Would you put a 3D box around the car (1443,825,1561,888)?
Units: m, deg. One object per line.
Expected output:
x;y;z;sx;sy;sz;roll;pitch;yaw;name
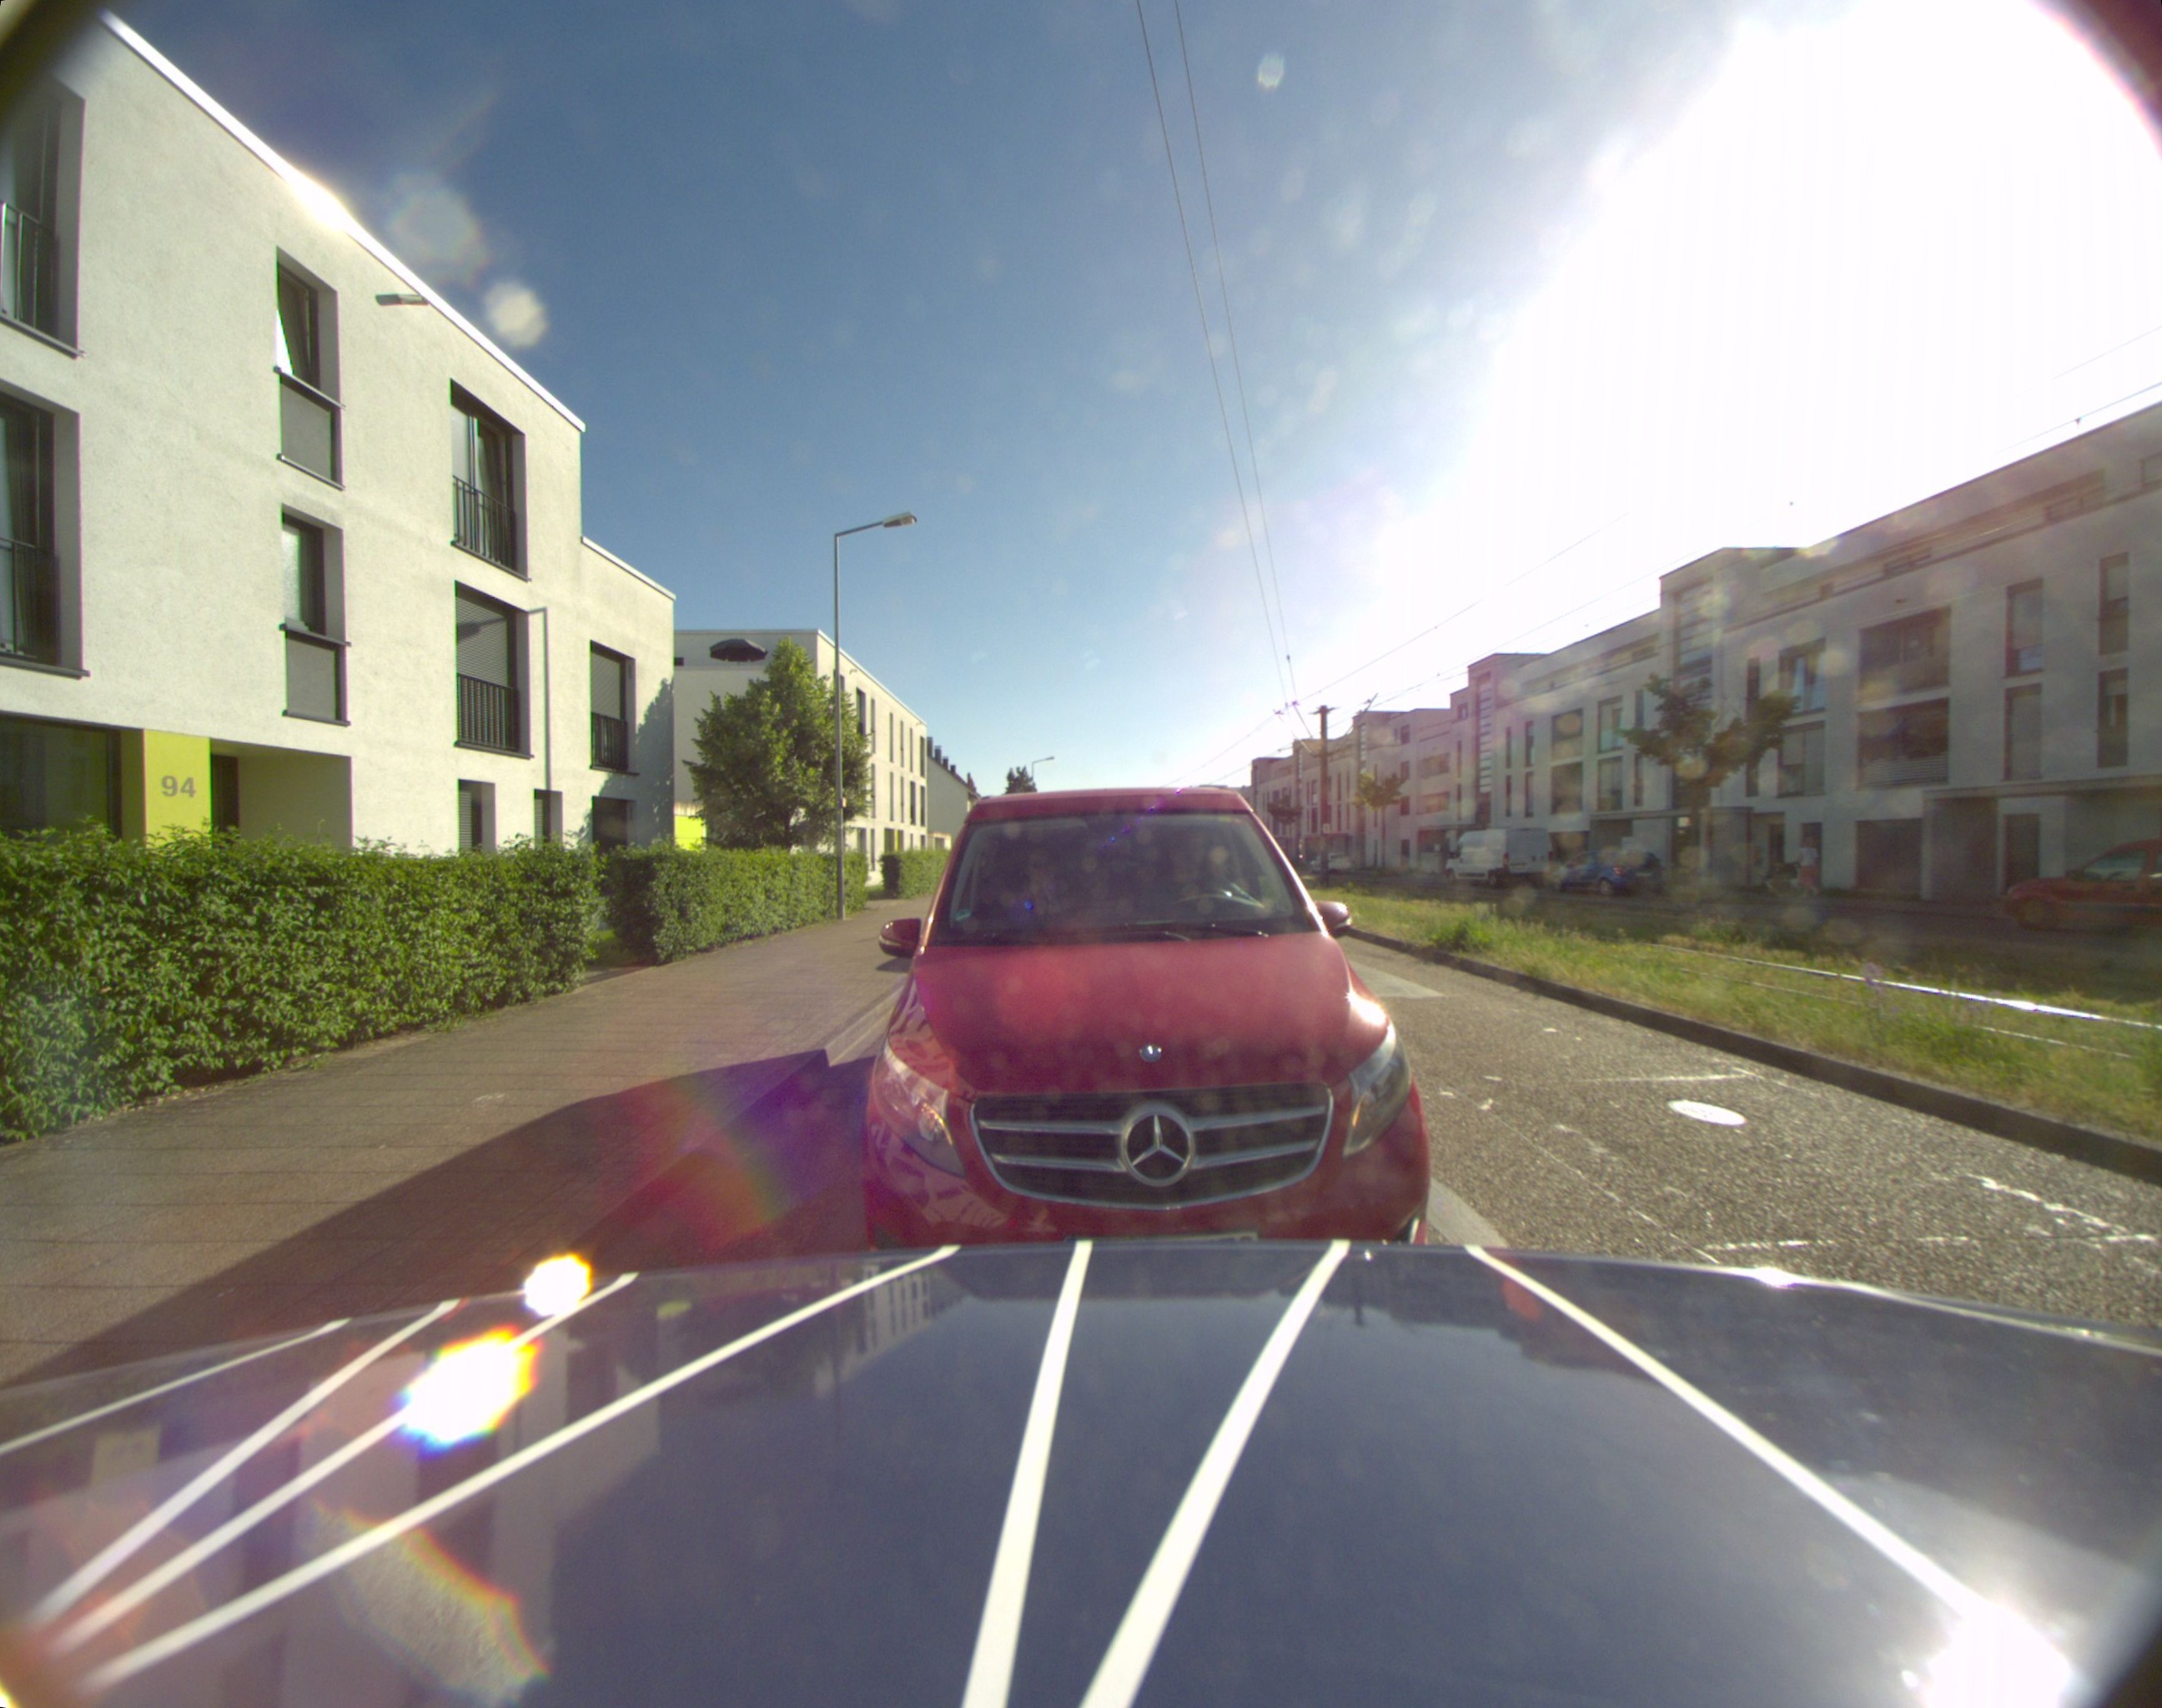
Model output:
18.168;0.086;33.148;2.225;2.458;5.195;-2;1;0;car

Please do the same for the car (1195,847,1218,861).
15.472;-0.025;93.883;1.923;1.671;4.282;-2;1;-4;car

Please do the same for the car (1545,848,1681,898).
18.375;0.587;26.477;1.999;1.536;3.835;-2;1;0;car

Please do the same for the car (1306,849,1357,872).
17.632;0.427;53.717;1.923;1.497;4.282;-2;1;-4;car

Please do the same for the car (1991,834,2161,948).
18.616;0.589;12.786;1.998;1.817;3.895;-2;1;3;car

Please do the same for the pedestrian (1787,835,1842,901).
20.868;0.398;21.636;0.776;1.812;0.785;-2;1;1;pedestrian

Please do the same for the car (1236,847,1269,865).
16.717;0.146;74.332;1.923;1.671;4.282;-2;1;-4;car

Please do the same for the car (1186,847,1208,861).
15.185;-0.047;99.635;1.923;1.671;4.282;-2;1;-4;car

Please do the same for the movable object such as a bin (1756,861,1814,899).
20.910;0.766;22.591;0.729;1.048;1.083;-2;1;1;movable object such as a bin

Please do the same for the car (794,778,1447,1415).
0.151;0.706;4.509;1.874;1.843;4.506;-2;1;1;car
